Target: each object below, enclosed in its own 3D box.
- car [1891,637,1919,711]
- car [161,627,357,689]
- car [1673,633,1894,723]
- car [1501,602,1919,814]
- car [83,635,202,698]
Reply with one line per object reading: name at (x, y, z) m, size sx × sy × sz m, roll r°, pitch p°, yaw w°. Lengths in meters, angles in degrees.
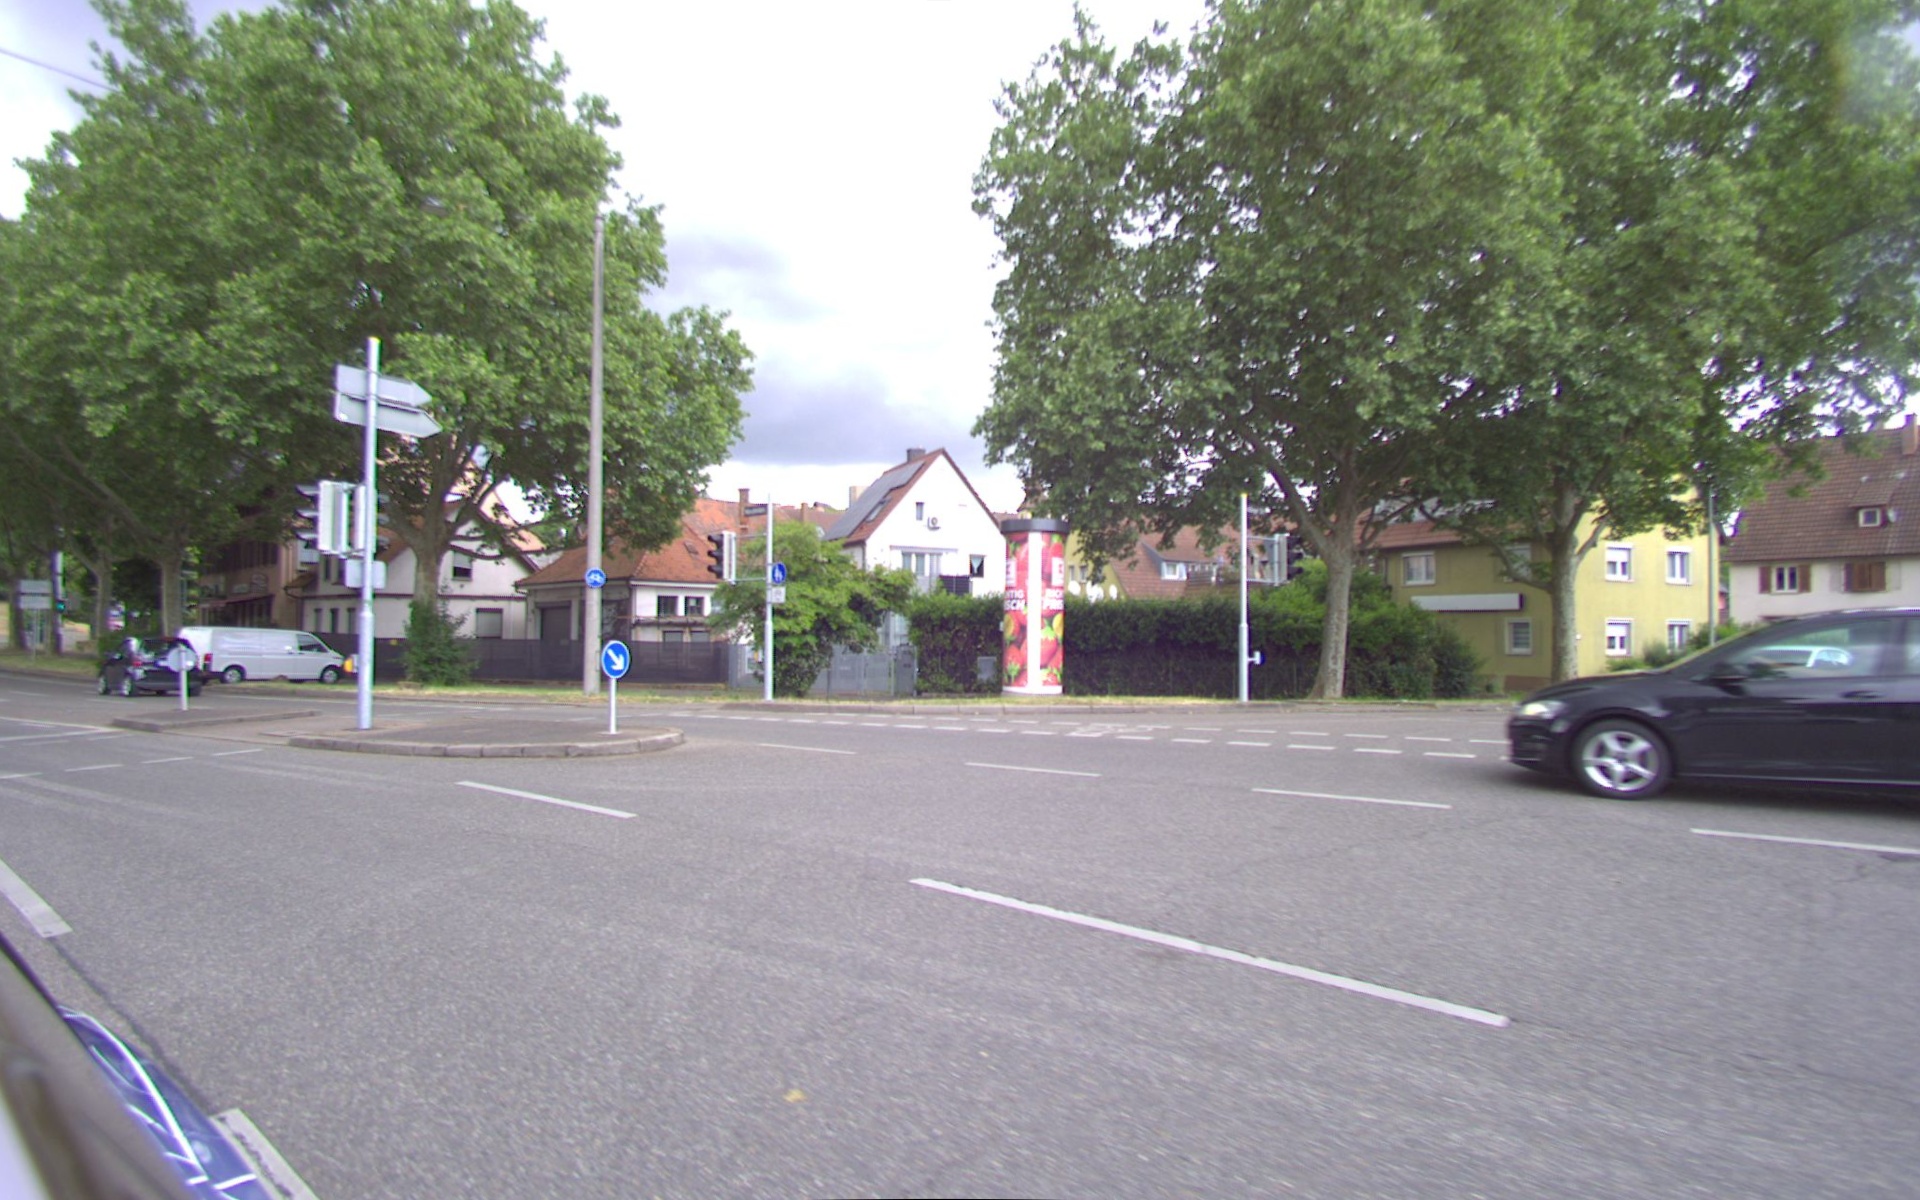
car at (22.336, 1.611, 21.701) m, size 4.196 × 1.557 × 2.006 m, roll 2°, pitch -2°, yaw -25°
car at (-23.810, 2.013, 34.671) m, size 2.068 × 1.946 × 5.208 m, roll 0°, pitch -4°, yaw 20°
car at (15.118, 1.352, 18.566) m, size 3.788 × 1.491 × 1.831 m, roll 1°, pitch -2°, yaw -29°
car at (6.511, 0.717, 7.406) m, size 4.303 × 1.376 × 1.662 m, roll -1°, pitch -2°, yaw 37°
car at (-21.425, 1.747, 26.510) m, size 3.181 × 1.539 × 1.555 m, roll -2°, pitch -5°, yaw 35°
